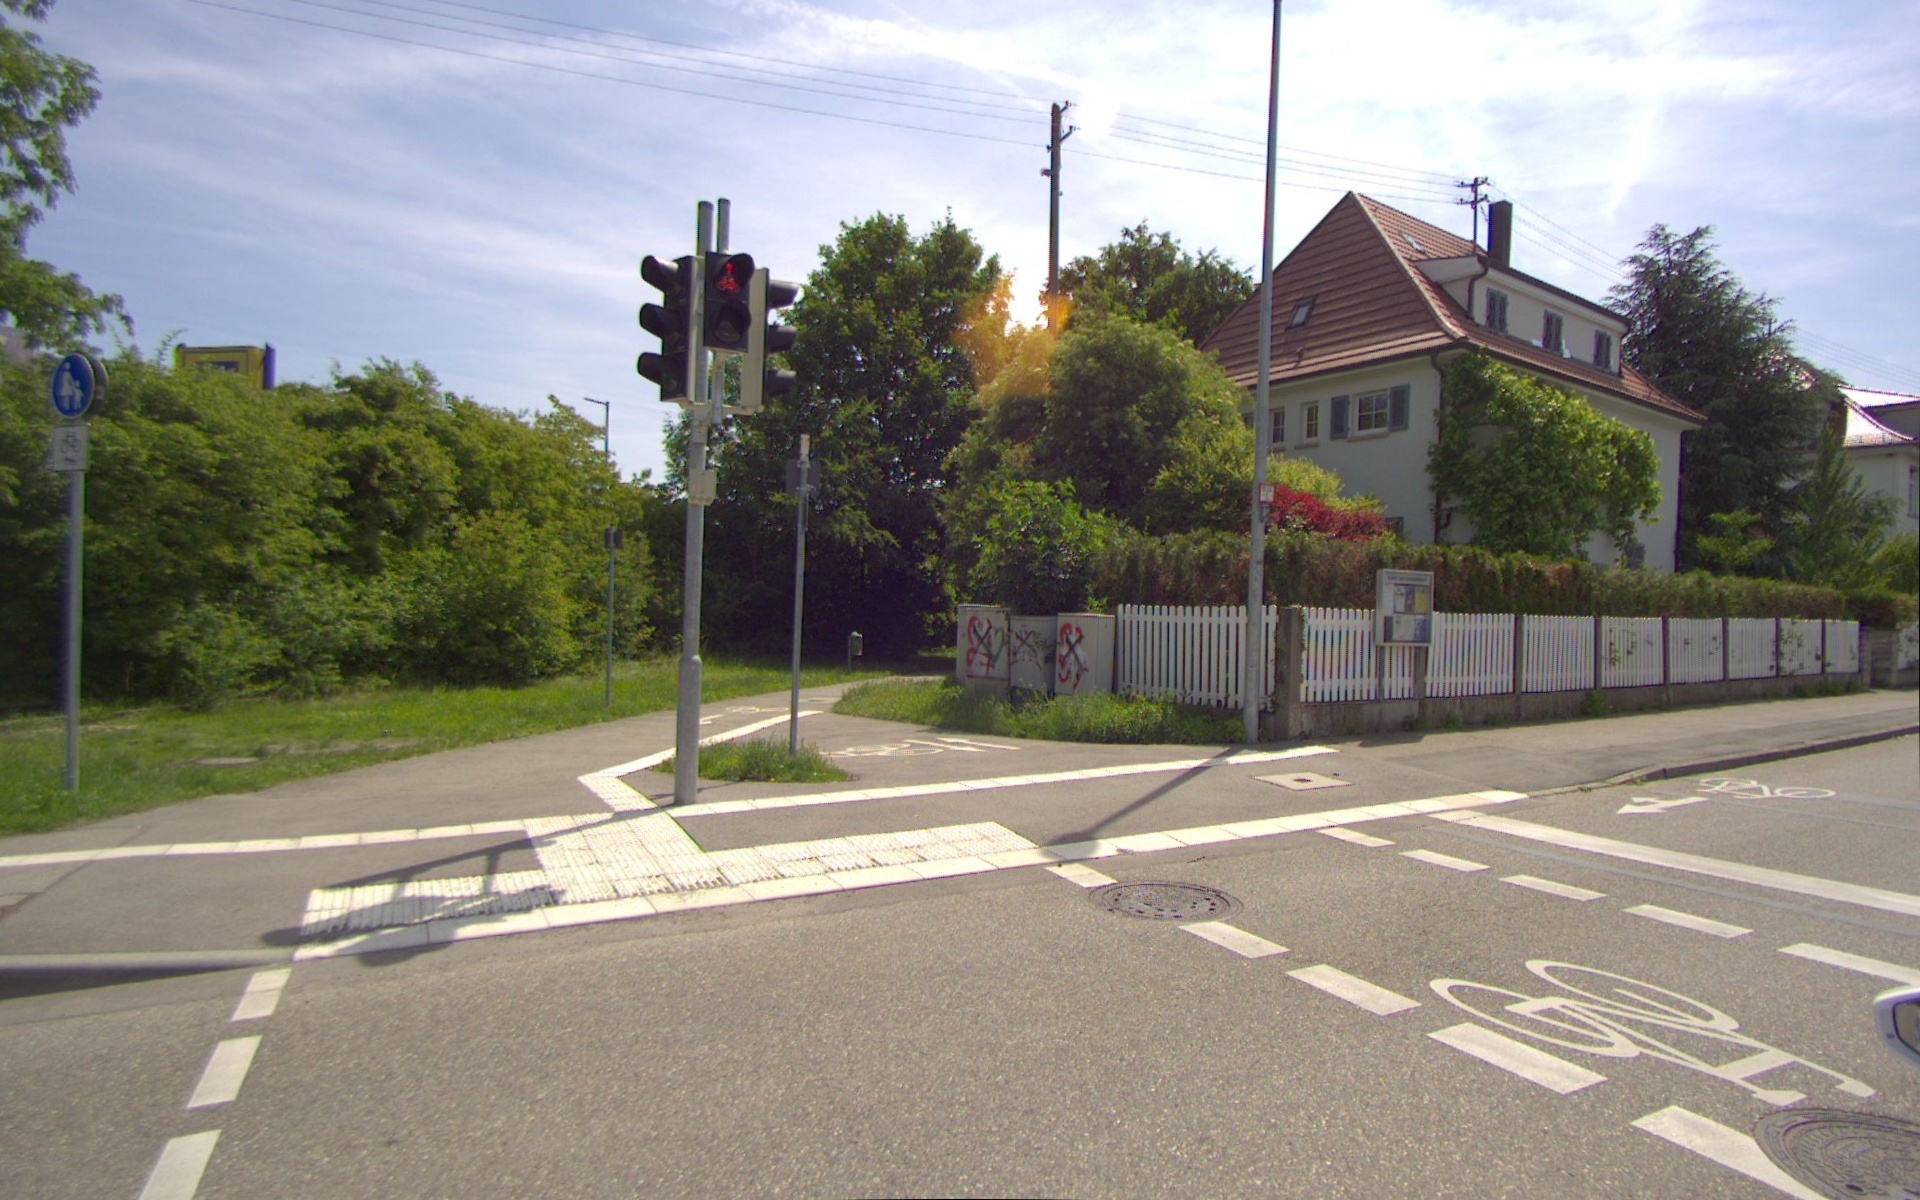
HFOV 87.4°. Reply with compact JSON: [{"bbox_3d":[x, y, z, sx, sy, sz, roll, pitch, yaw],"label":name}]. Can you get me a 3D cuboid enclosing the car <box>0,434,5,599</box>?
[{"bbox_3d":[-4.755,0.392,1.209,4.845,1.991,1.870,2,-1,-30],"label":"car"}]
